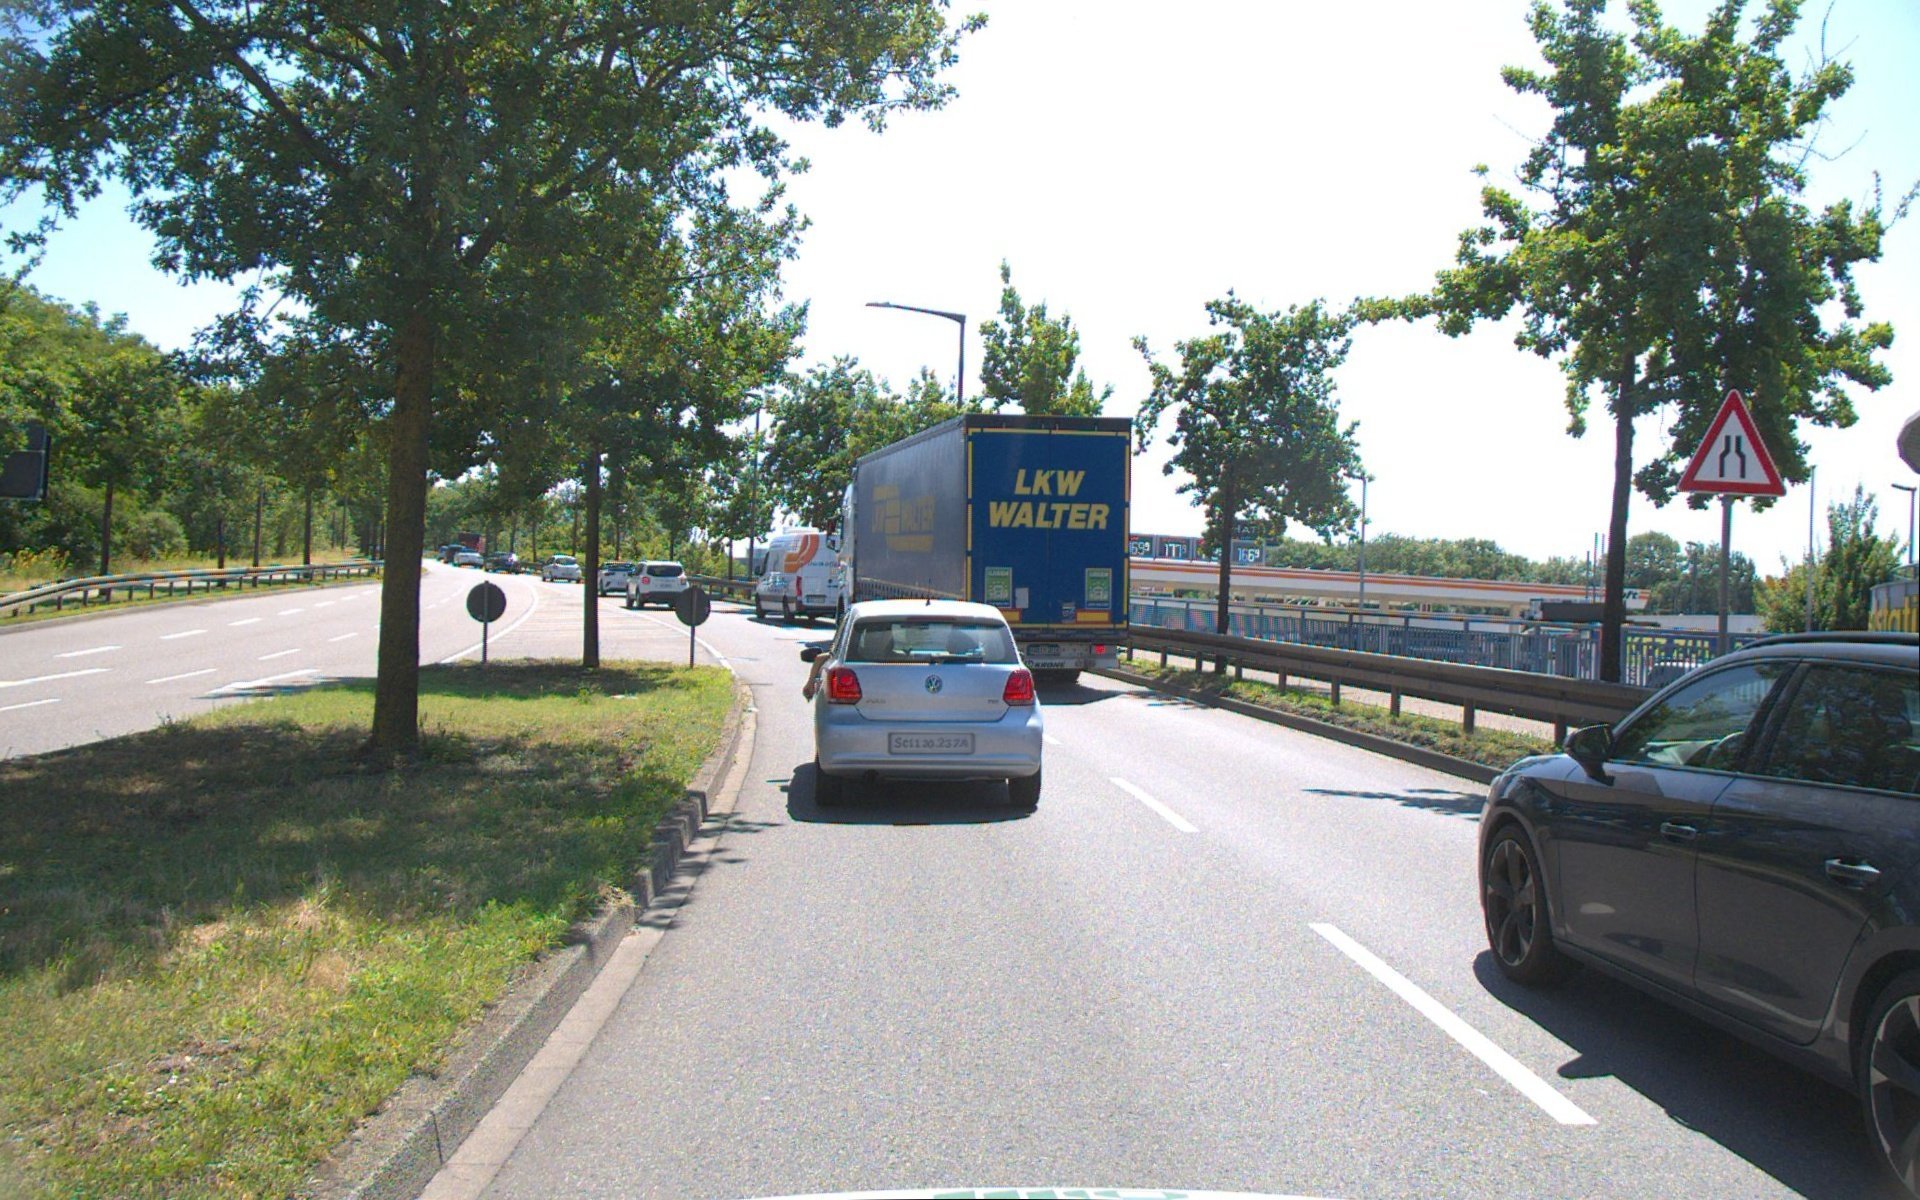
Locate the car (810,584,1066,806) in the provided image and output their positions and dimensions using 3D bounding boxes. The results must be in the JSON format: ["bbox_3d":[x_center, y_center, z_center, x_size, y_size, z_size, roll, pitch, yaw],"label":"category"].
[{"bbox_3d":[-0.300,0.666,12.965,1.615,1.464,3.531,2,-1,-7],"label":"car"}]

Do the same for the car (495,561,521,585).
[{"bbox_3d":[-30.400,-1.825,111.176,1.638,1.490,3.564,2,-1,-16],"label":"car"}]

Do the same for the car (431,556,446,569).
[{"bbox_3d":[-51.012,-3.705,161.870,1.301,1.158,2.981,2,-1,-17],"label":"car"}]

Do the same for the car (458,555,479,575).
[{"bbox_3d":[-36.981,-2.619,124.533,1.433,1.337,3.621,2,-1,-17],"label":"car"}]

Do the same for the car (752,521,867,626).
[{"bbox_3d":[-4.706,-0.852,50.679,2.142,2.951,6.327,2,1,-18],"label":"car"}]

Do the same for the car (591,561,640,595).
[{"bbox_3d":[-14.965,-0.951,71.743,1.473,1.383,3.640,2,0,-21],"label":"car"}]

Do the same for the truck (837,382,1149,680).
[{"bbox_3d":[-0.092,-1.042,32.329,2.782,4.271,16.433,2,0,-10],"label":"truck"}]

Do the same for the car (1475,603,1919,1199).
[{"bbox_3d":[3.134,0.782,5.125,1.572,1.481,4.233,2,-1,-3],"label":"car"}]

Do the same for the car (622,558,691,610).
[{"bbox_3d":[-10.885,-0.546,59.068,1.874,1.748,4.202,2,-1,-18],"label":"car"}]

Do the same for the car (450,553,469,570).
[{"bbox_3d":[-41.633,-3.184,137.626,1.395,1.337,3.322,2,-1,-16],"label":"car"}]

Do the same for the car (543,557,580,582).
[{"bbox_3d":[-22.562,-1.716,93.521,1.585,1.383,3.640,2,0,-20],"label":"car"}]
